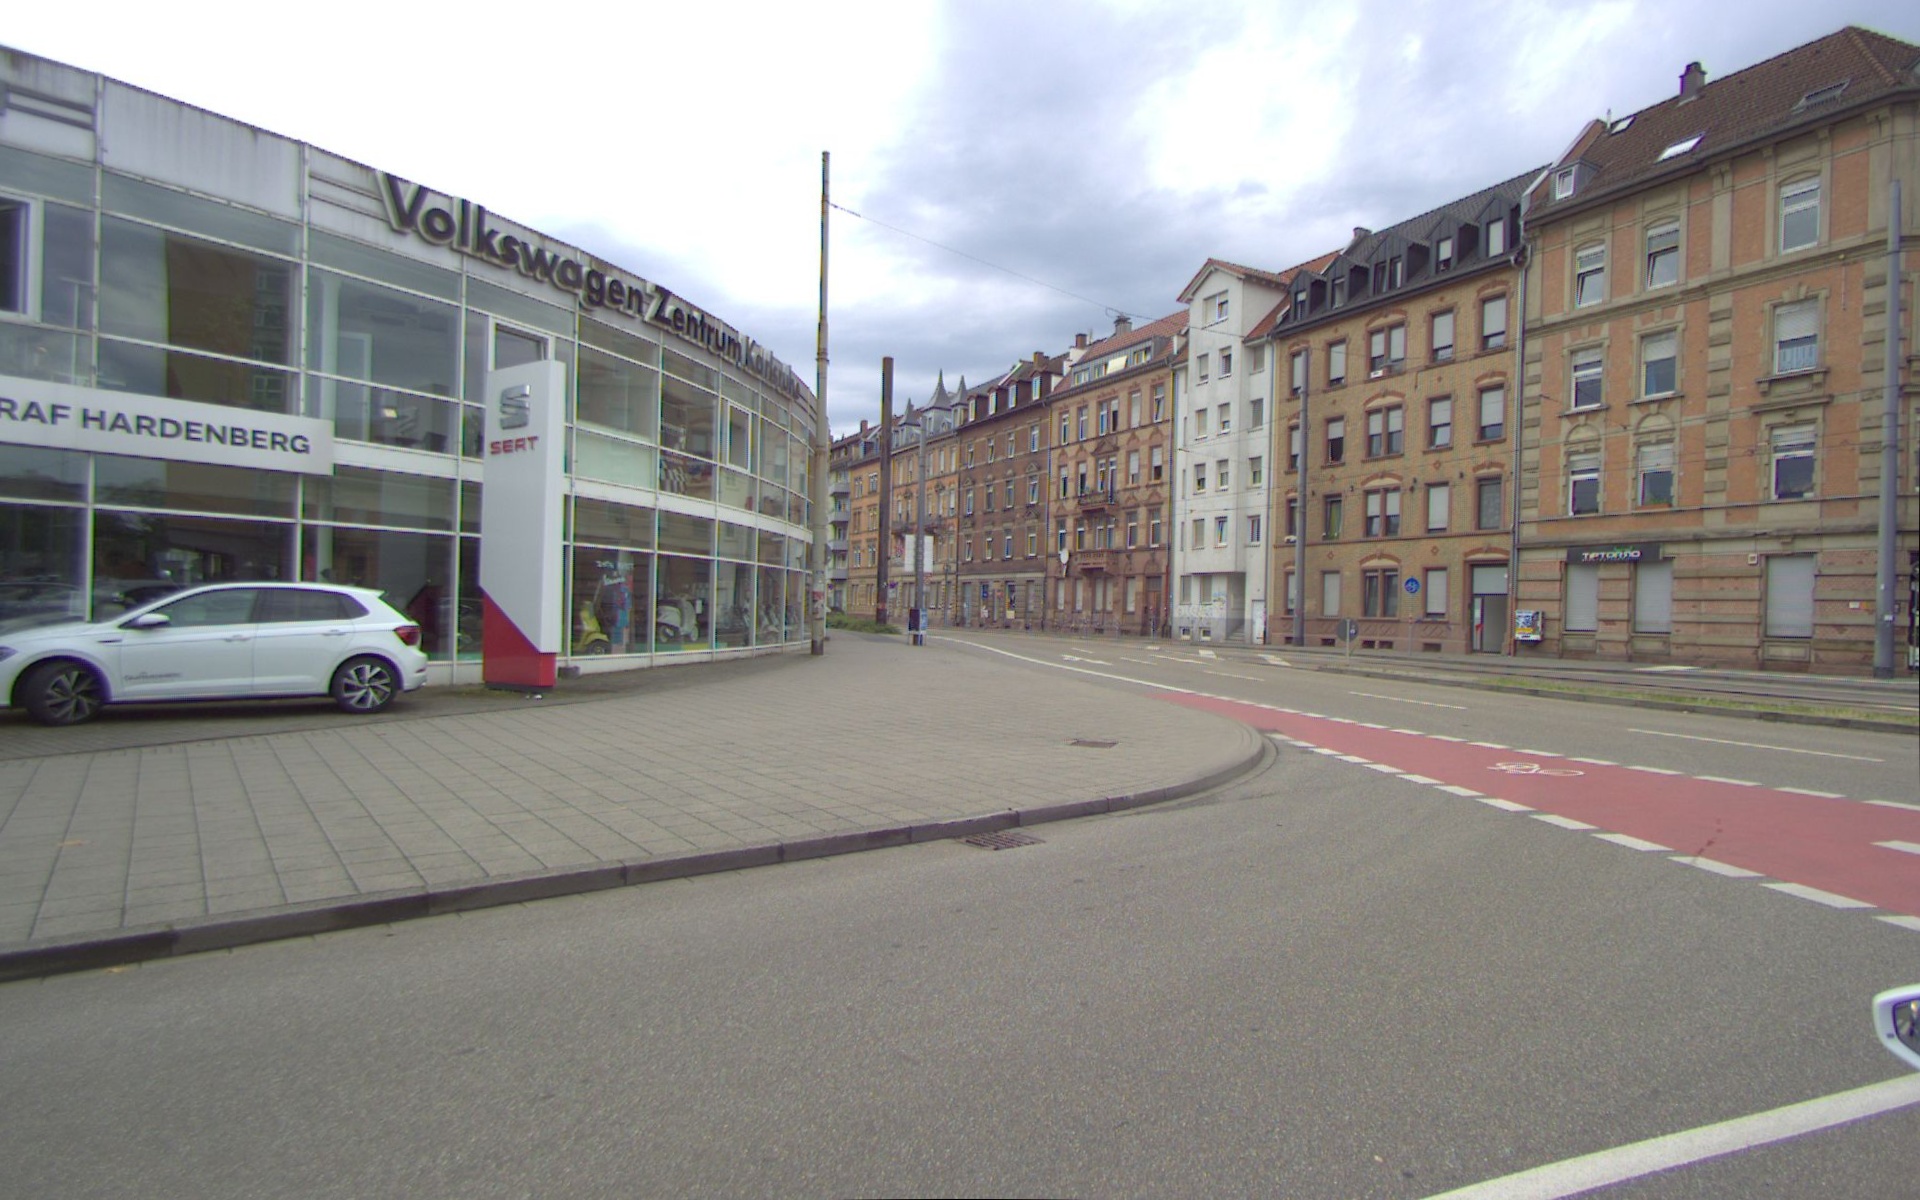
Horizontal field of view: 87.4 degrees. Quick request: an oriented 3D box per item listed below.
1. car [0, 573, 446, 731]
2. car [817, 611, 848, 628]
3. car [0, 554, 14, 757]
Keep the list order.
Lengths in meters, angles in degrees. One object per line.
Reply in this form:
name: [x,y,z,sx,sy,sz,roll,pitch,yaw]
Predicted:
car: [-8.135,0.519,11.014,4.223,1.472,1.764,2,-1,-37]
car: [-11.808,1.793,93.060,1.829,1.500,3.805,1,0,-24]
car: [-9.701,0.354,7.617,4.136,1.583,1.902,2,0,18]
